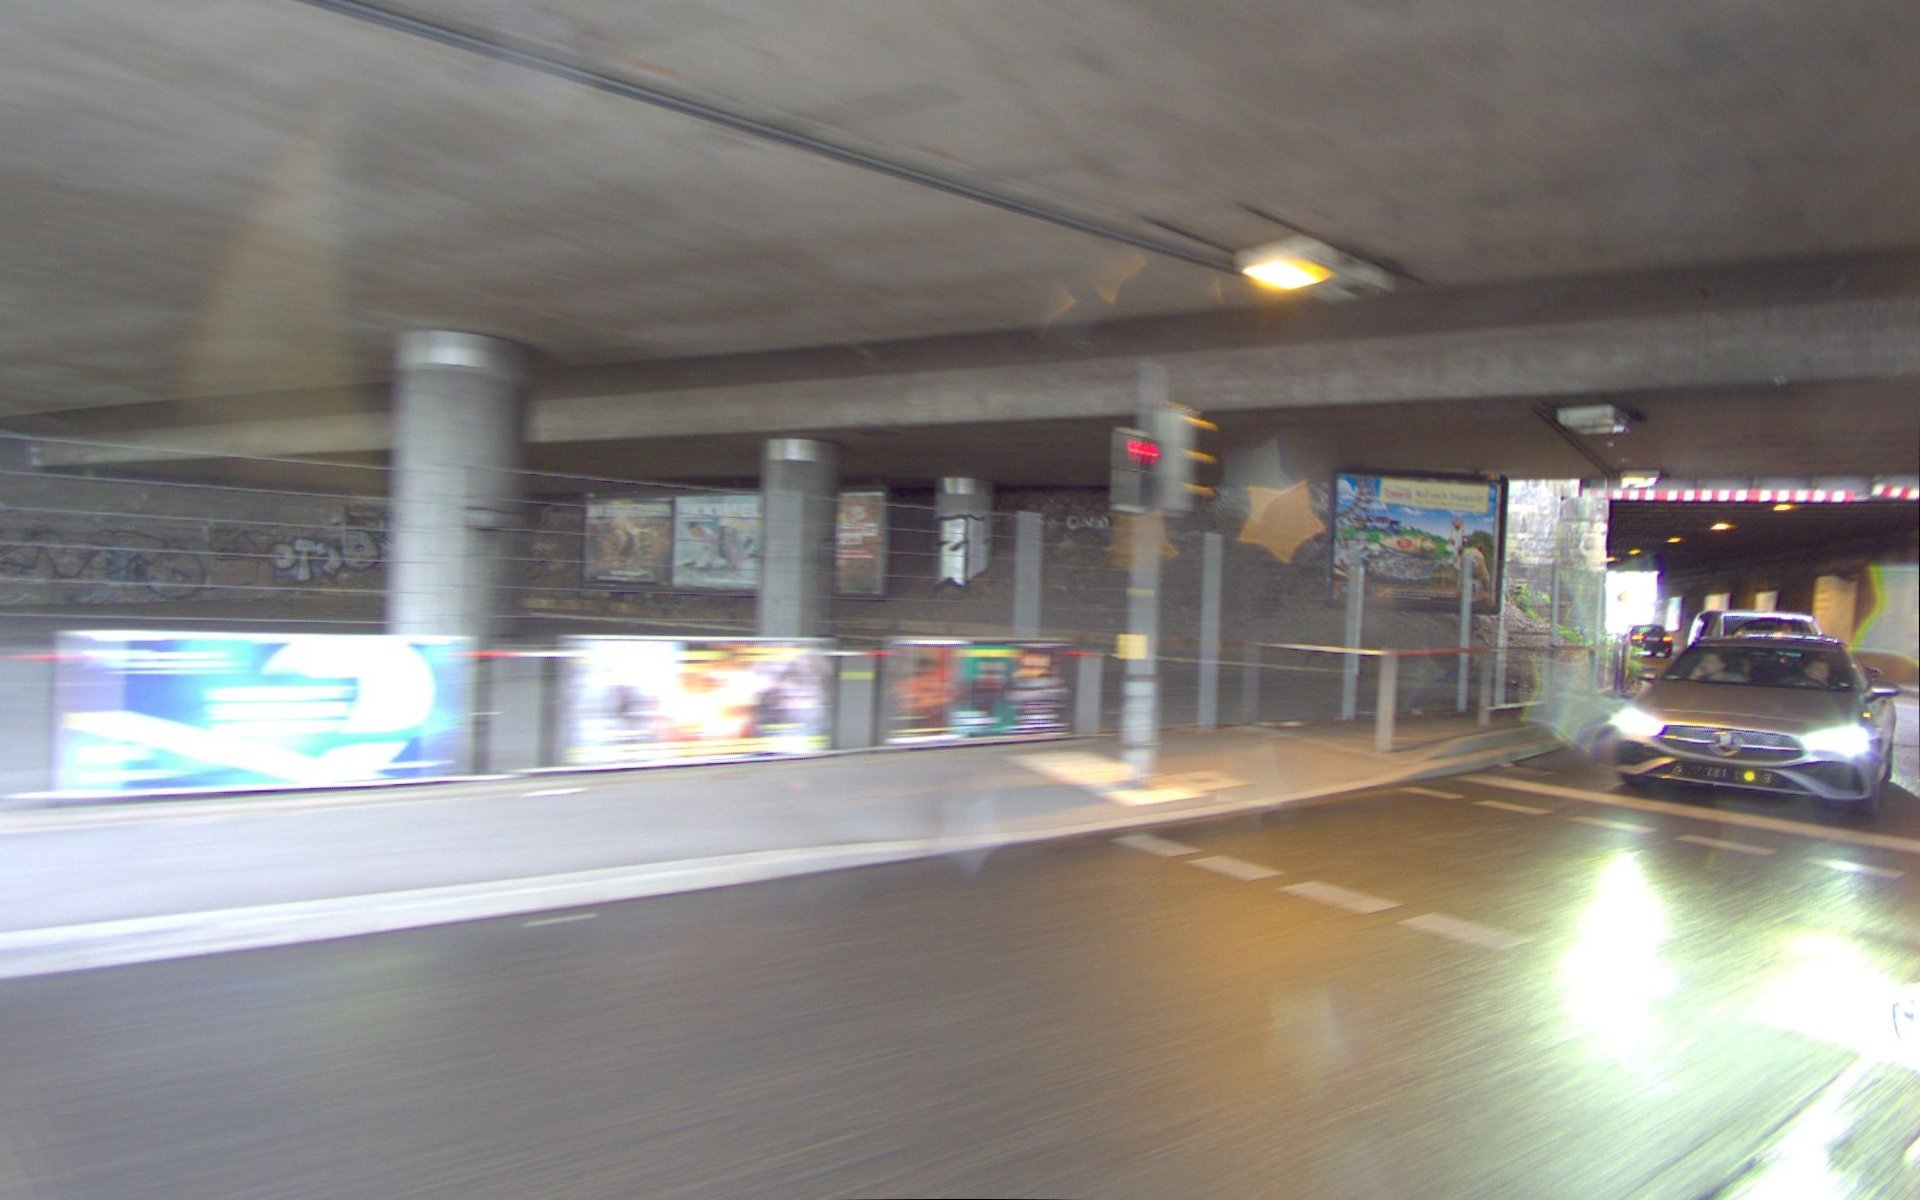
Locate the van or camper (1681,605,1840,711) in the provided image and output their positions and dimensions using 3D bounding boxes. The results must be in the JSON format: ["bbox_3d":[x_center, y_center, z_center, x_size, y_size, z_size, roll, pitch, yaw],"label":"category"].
[{"bbox_3d":[16.510,1.115,20.988,1.965,1.893,5.127,1,-1,32],"label":"van or camper"}]

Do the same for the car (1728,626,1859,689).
[{"bbox_3d":[22.504,1.485,27.285,1.808,1.457,4.098,2,0,26],"label":"car"}]

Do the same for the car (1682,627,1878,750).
[{"bbox_3d":[12.004,1.178,14.814,1.969,1.484,4.088,1,-1,39],"label":"car"}]

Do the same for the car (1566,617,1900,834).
[{"bbox_3d":[7.600,0.979,9.689,4.471,1.550,1.973,2,0,-45],"label":"car"}]
